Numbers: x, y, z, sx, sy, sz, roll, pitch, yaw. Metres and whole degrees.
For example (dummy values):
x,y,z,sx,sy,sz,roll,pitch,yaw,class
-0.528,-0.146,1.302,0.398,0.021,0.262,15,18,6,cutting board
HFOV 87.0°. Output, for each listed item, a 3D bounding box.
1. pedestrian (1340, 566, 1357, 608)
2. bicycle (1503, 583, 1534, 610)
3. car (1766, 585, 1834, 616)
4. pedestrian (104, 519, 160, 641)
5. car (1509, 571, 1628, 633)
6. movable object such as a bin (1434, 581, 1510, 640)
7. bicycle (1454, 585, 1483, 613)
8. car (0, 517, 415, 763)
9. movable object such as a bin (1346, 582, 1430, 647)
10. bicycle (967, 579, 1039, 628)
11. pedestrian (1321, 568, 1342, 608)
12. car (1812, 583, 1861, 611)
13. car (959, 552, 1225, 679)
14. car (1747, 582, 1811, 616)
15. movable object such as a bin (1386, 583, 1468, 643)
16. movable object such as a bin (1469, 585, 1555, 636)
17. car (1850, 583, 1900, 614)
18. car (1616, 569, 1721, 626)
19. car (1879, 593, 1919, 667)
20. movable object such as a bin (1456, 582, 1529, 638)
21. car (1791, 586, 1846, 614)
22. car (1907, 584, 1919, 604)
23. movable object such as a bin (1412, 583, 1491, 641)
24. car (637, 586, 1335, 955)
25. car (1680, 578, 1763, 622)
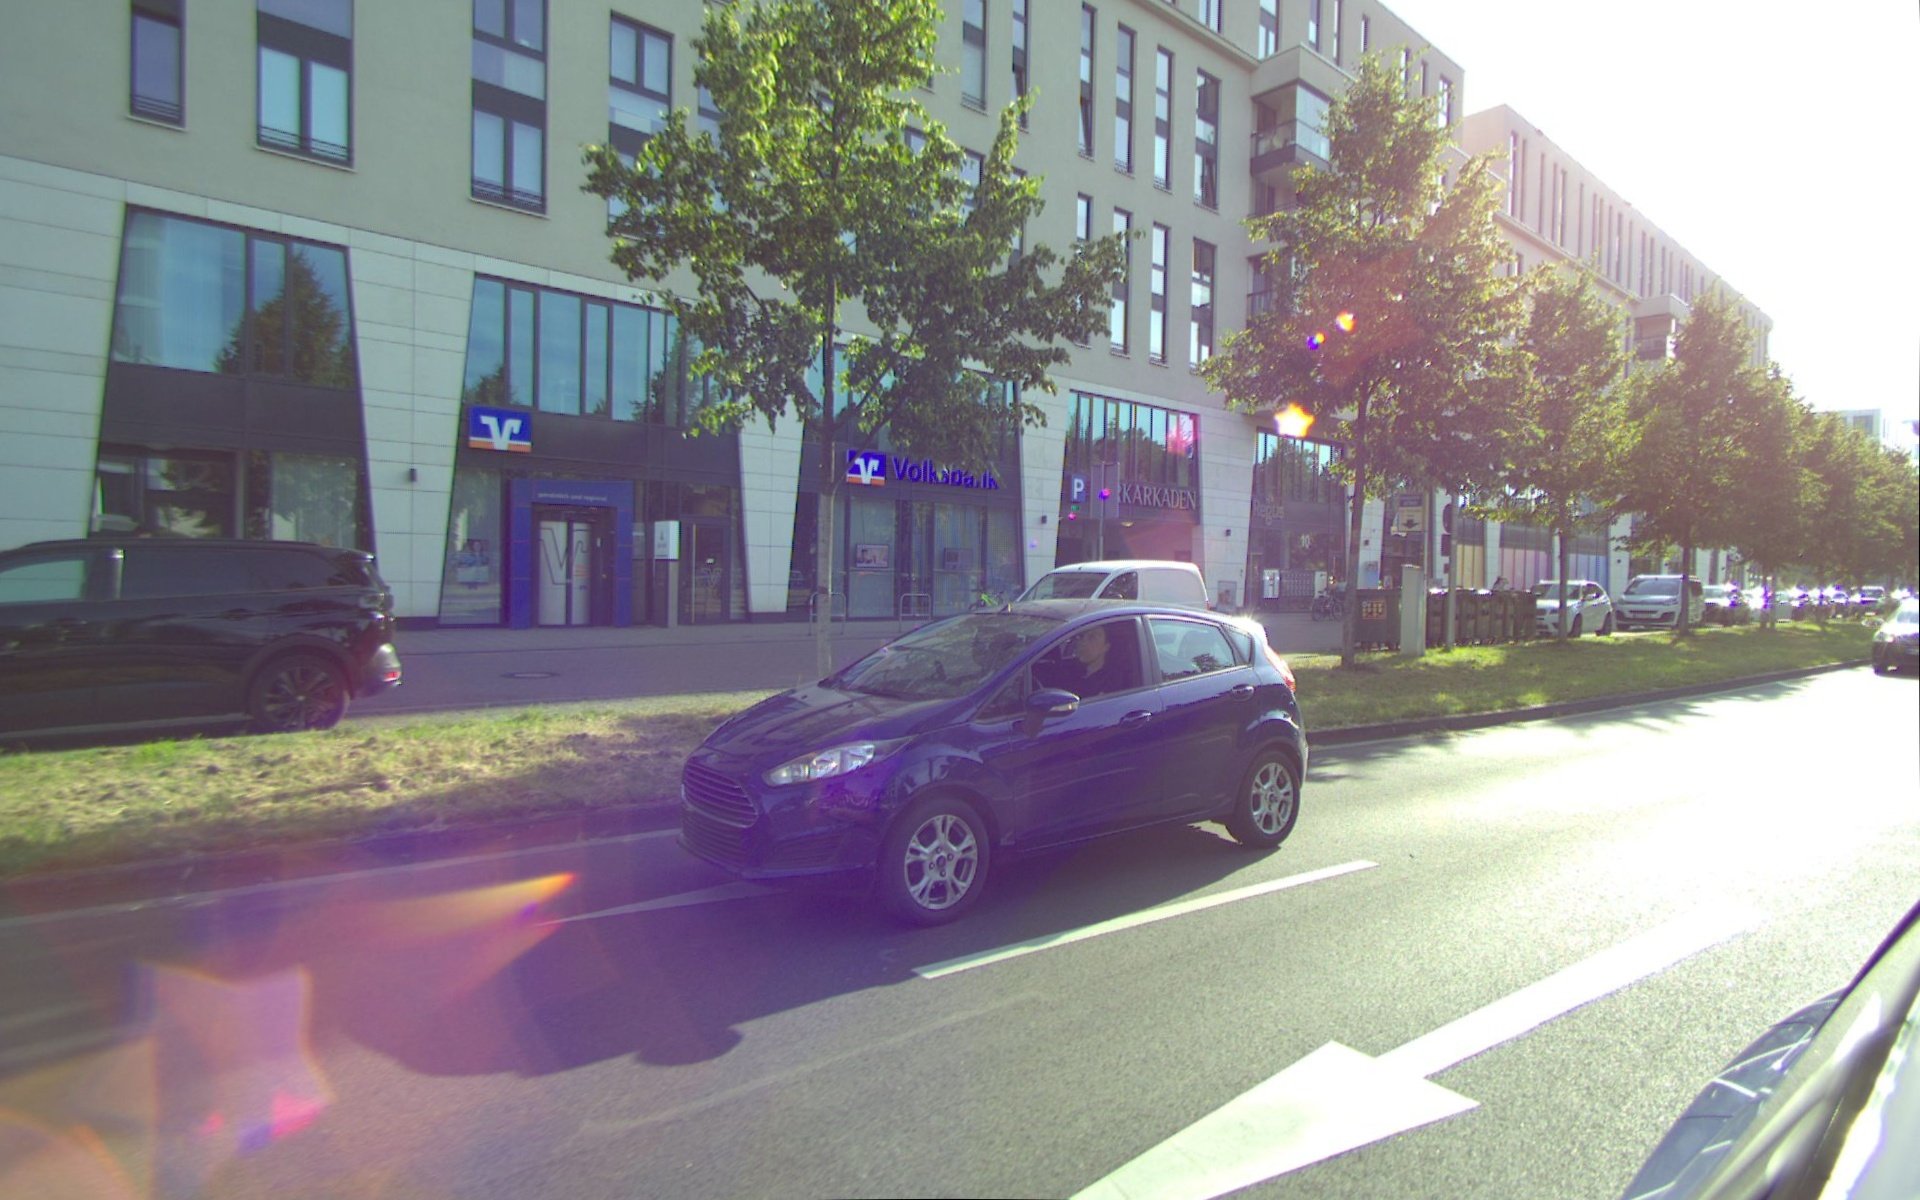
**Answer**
x,y,z,sx,sy,sz,roll,pitch,yaw,class
14.916,-0.502,38.879,0.511,1.594,0.534,-1,0,30,pedestrian
24.921,-0.165,45.155,2.071,1.112,0.420,-1,5,-40,bicycle
41.567,-0.014,50.041,4.637,1.450,1.732,-1,1,-39,car
-12.429,-0.297,15.198,0.635,1.785,0.538,-1,0,-40,pedestrian
17.869,0.032,29.617,4.769,1.650,1.732,0,2,-43,car
12.045,0.230,23.814,1.172,1.334,1.278,-1,0,-43,movable object such as a bin
20.840,-0.070,41.498,1.702,1.094,0.345,-1,5,-40,bicycle
-7.116,0.279,8.042,4.597,1.730,1.899,0,0,-42,car
9.041,0.285,21.399,1.159,1.307,1.278,-1,0,-43,movable object such as a bin
1.053,0.061,24.479,1.911,1.130,0.493,-1,2,-41,bicycle
14.400,-0.463,39.238,0.587,1.541,0.514,-1,0,-41,pedestrian
50.722,-0.189,58.529,1.868,1.510,4.344,0,1,45,car
2.170,0.177,15.986,4.221,1.733,1.830,-1,1,-41,car
35.519,-0.068,43.853,4.098,1.430,1.617,-1,1,-43,car
10.148,0.255,21.991,1.172,1.252,1.278,-1,0,-43,movable object such as a bin
14.075,0.256,25.831,1.307,1.252,1.406,-1,0,-13,movable object such as a bin
59.732,-0.117,66.042,4.760,1.898,1.897,-1,1,-41,car
25.301,-0.135,36.078,4.943,1.899,1.841,-1,1,-40,car
20.744,0.586,21.124,3.966,1.442,1.698,-1,1,-39,car
13.011,0.228,24.718,1.172,1.318,1.278,-1,0,-43,movable object such as a bin
46.698,-0.003,55.008,4.043,1.450,1.731,-1,1,-42,car
77.275,-0.492,80.939,4.253,1.618,1.763,-1,1,-41,car
11.071,0.258,22.816,1.172,1.252,1.278,-1,0,-43,movable object such as a bin
0.326,0.648,5.745,3.835,1.442,1.564,0,0,-37,car
30.342,-0.023,40.296,4.262,1.671,1.732,-1,1,-40,car
